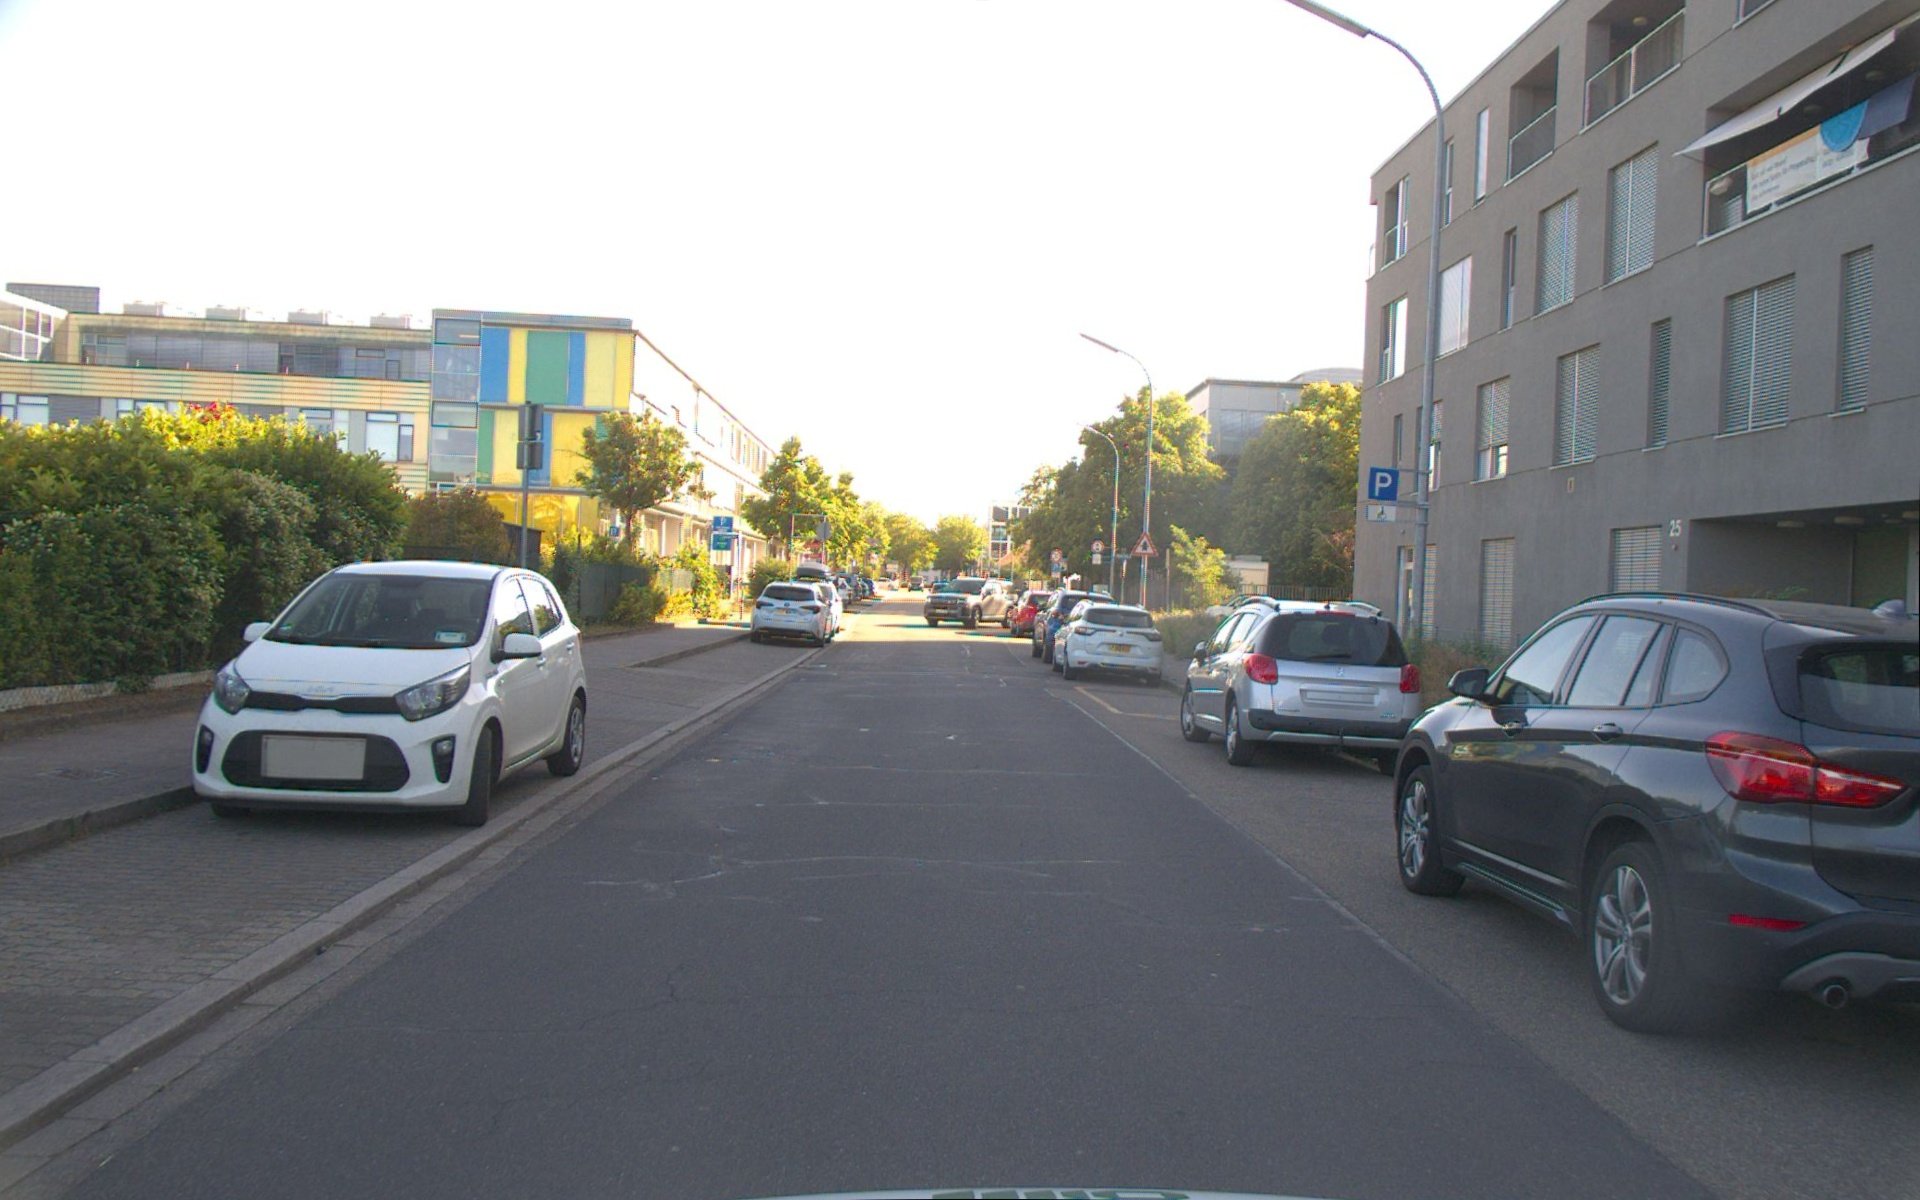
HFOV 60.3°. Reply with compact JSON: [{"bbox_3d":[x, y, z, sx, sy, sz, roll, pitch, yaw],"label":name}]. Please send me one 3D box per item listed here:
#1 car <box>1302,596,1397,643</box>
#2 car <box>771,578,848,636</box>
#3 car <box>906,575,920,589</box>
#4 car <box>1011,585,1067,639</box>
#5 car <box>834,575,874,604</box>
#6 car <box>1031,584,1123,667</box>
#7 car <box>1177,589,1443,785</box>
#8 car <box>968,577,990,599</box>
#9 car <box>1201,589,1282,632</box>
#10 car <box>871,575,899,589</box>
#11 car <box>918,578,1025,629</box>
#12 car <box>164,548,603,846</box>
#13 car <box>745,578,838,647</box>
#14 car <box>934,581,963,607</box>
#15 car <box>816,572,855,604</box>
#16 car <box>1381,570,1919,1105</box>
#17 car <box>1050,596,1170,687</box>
[{"bbox_3d":[14.631,0.725,62.181,3.150,1.486,1.450,4,0,1],"label":"car"},{"bbox_3d":[-4.211,0.180,46.880,1.817,1.453,4.133,4,0,-1],"label":"car"},{"bbox_3d":[-5.781,-2.176,202.180,1.631,1.576,3.900,4,0,-2],"label":"car"},{"bbox_3d":[2.542,0.369,53.611,1.416,1.576,3.613,4,0,-2],"label":"car"},{"bbox_3d":[-6.362,-0.623,99.459,1.816,1.590,4.136,4,0,3],"label":"car"},{"bbox_3d":[2.578,0.526,37.200,1.600,1.658,3.613,4,0,-2],"label":"car"},{"bbox_3d":[3.293,0.748,16.263,1.624,1.578,3.849,4,0,-1],"label":"car"},{"bbox_3d":[1.432,-0.958,127.215,1.416,1.576,3.613,4,0,-2],"label":"car"},{"bbox_3d":[11.929,0.441,70.186,3.150,1.576,1.450,4,0,1],"label":"car"},{"bbox_3d":[-9.701,-2.311,214.394,3.534,1.576,1.448,4,0,-6],"label":"car"},{"bbox_3d":[0.441,0.149,58.959,1.811,1.573,4.182,4,0,32],"label":"car"},{"bbox_3d":[-3.441,0.500,10.605,1.528,1.521,3.757,2,0,-1],"label":"car"},{"bbox_3d":[-3.992,0.260,39.848,1.817,1.453,4.133,4,0,-1],"label":"car"},{"bbox_3d":[-0.751,-0.394,106.412,1.656,1.576,3.613,4,0,-2],"label":"car"},{"bbox_3d":[-6.836,-0.684,91.117,1.817,1.590,4.133,4,0,-1],"label":"car"},{"bbox_3d":[3.344,0.776,7.325,1.707,1.653,4.178,4,0,-1],"label":"car"},{"bbox_3d":[2.754,0.723,31.195,1.707,1.453,4.133,4,0,-1],"label":"car"}]
